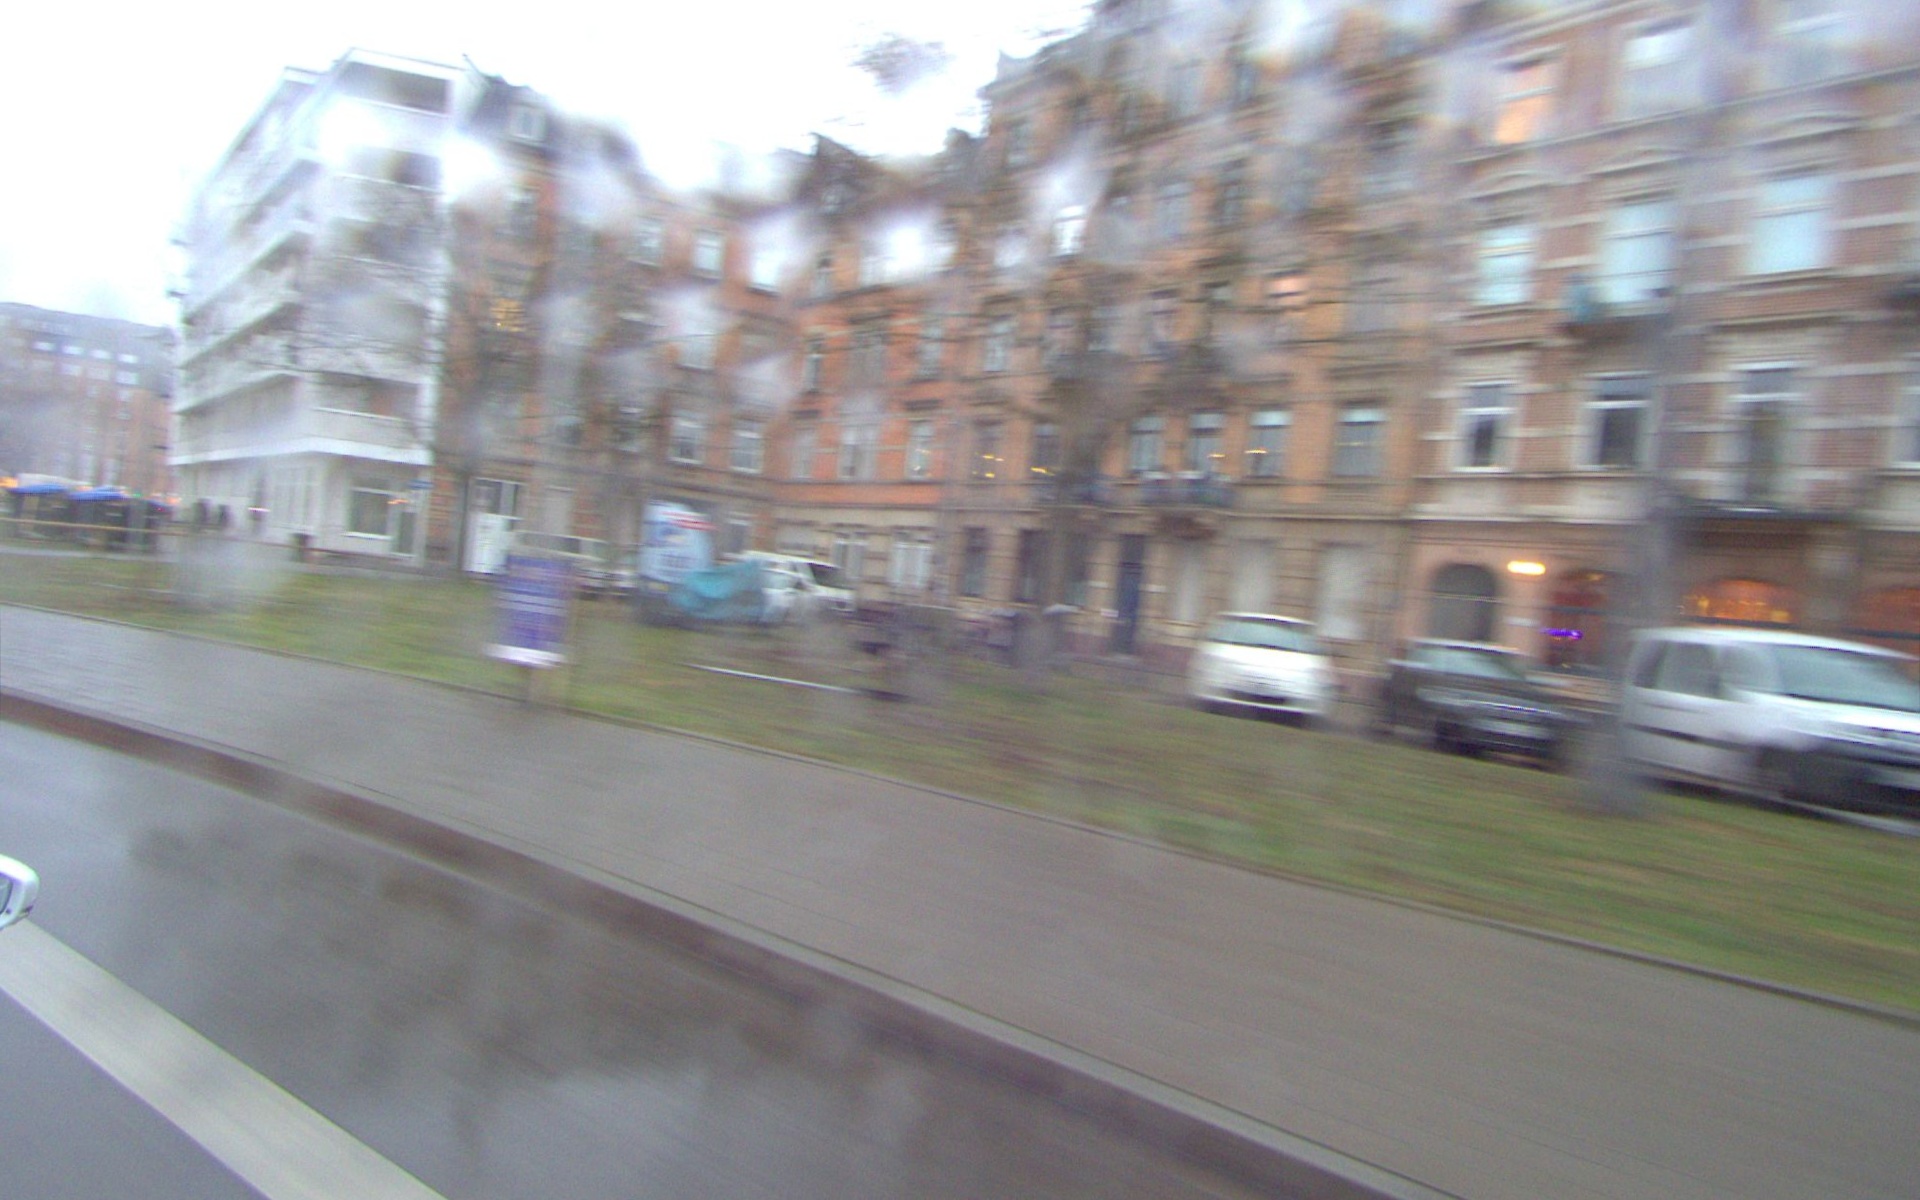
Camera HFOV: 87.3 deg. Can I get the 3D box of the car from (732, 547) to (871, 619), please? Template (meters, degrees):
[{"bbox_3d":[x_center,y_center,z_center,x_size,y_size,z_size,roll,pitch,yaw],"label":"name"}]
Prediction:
[{"bbox_3d":[-5.651,-0.617,35.384,4.916,2.040,1.990,6,1,41],"label":"car"}]

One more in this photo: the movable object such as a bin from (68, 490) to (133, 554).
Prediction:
[{"bbox_3d":[-22.785,-2.041,26.684,1.028,1.507,1.032,8,-2,-33],"label":"movable object such as a bin"}]

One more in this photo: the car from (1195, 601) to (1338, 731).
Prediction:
[{"bbox_3d":[4.368,0.947,14.517,1.583,1.460,3.470,7,-2,16],"label":"car"}]

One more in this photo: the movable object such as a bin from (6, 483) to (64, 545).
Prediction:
[{"bbox_3d":[-23.645,-2.202,25.744,1.009,1.434,1.209,4,2,-42],"label":"movable object such as a bin"}]

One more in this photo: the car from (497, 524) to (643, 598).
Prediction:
[{"bbox_3d":[-14.213,-1.367,36.991,4.681,1.940,1.993,8,-2,-18],"label":"car"}]

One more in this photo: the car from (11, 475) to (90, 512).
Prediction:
[{"bbox_3d":[-74.152,-8.650,82.145,1.964,2.036,4.950,7,-2,-3],"label":"car"}]

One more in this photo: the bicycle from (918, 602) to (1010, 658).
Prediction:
[{"bbox_3d":[0.113,0.629,20.546,0.616,0.978,2.162,7,1,38],"label":"bicycle"}]

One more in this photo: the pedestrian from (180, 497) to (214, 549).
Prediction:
[{"bbox_3d":[-27.157,-2.730,35.795,0.597,1.734,0.675,6,-2,40],"label":"pedestrian"}]

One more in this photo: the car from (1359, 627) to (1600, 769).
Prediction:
[{"bbox_3d":[6.470,1.152,12.952,1.632,1.367,3.436,7,-1,10],"label":"car"}]

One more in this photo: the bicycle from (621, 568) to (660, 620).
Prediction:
[{"bbox_3d":[-6.630,-0.144,20.843,0.508,0.949,1.642,6,1,-25],"label":"bicycle"}]

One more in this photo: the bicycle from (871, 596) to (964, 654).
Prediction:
[{"bbox_3d":[-0.865,0.550,21.257,0.616,0.977,2.164,10,0,38],"label":"bicycle"}]

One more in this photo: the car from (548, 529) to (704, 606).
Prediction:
[{"bbox_3d":[-8.552,-0.770,26.163,1.907,1.657,4.000,6,1,14],"label":"car"}]

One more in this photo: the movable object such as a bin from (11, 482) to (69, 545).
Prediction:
[{"bbox_3d":[-24.502,-2.300,26.818,1.024,1.514,1.313,6,1,-42],"label":"movable object such as a bin"}]

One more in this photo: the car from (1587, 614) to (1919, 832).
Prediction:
[{"bbox_3d":[8.321,1.064,10.214,1.743,1.613,4.662,6,1,13],"label":"car"}]

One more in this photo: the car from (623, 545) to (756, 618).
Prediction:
[{"bbox_3d":[-6.515,-0.398,24.642,1.645,1.370,3.748,8,-1,8],"label":"car"}]

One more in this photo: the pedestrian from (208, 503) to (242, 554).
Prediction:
[{"bbox_3d":[-26.645,-2.602,36.465,0.620,1.734,0.675,6,-2,40],"label":"pedestrian"}]

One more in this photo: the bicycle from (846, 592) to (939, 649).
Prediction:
[{"bbox_3d":[-1.420,0.461,21.618,0.616,0.977,2.164,10,0,38],"label":"bicycle"}]

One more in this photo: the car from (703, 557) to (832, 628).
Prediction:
[{"bbox_3d":[-4.422,-0.116,23.695,1.666,1.353,3.860,7,0,9],"label":"car"}]
